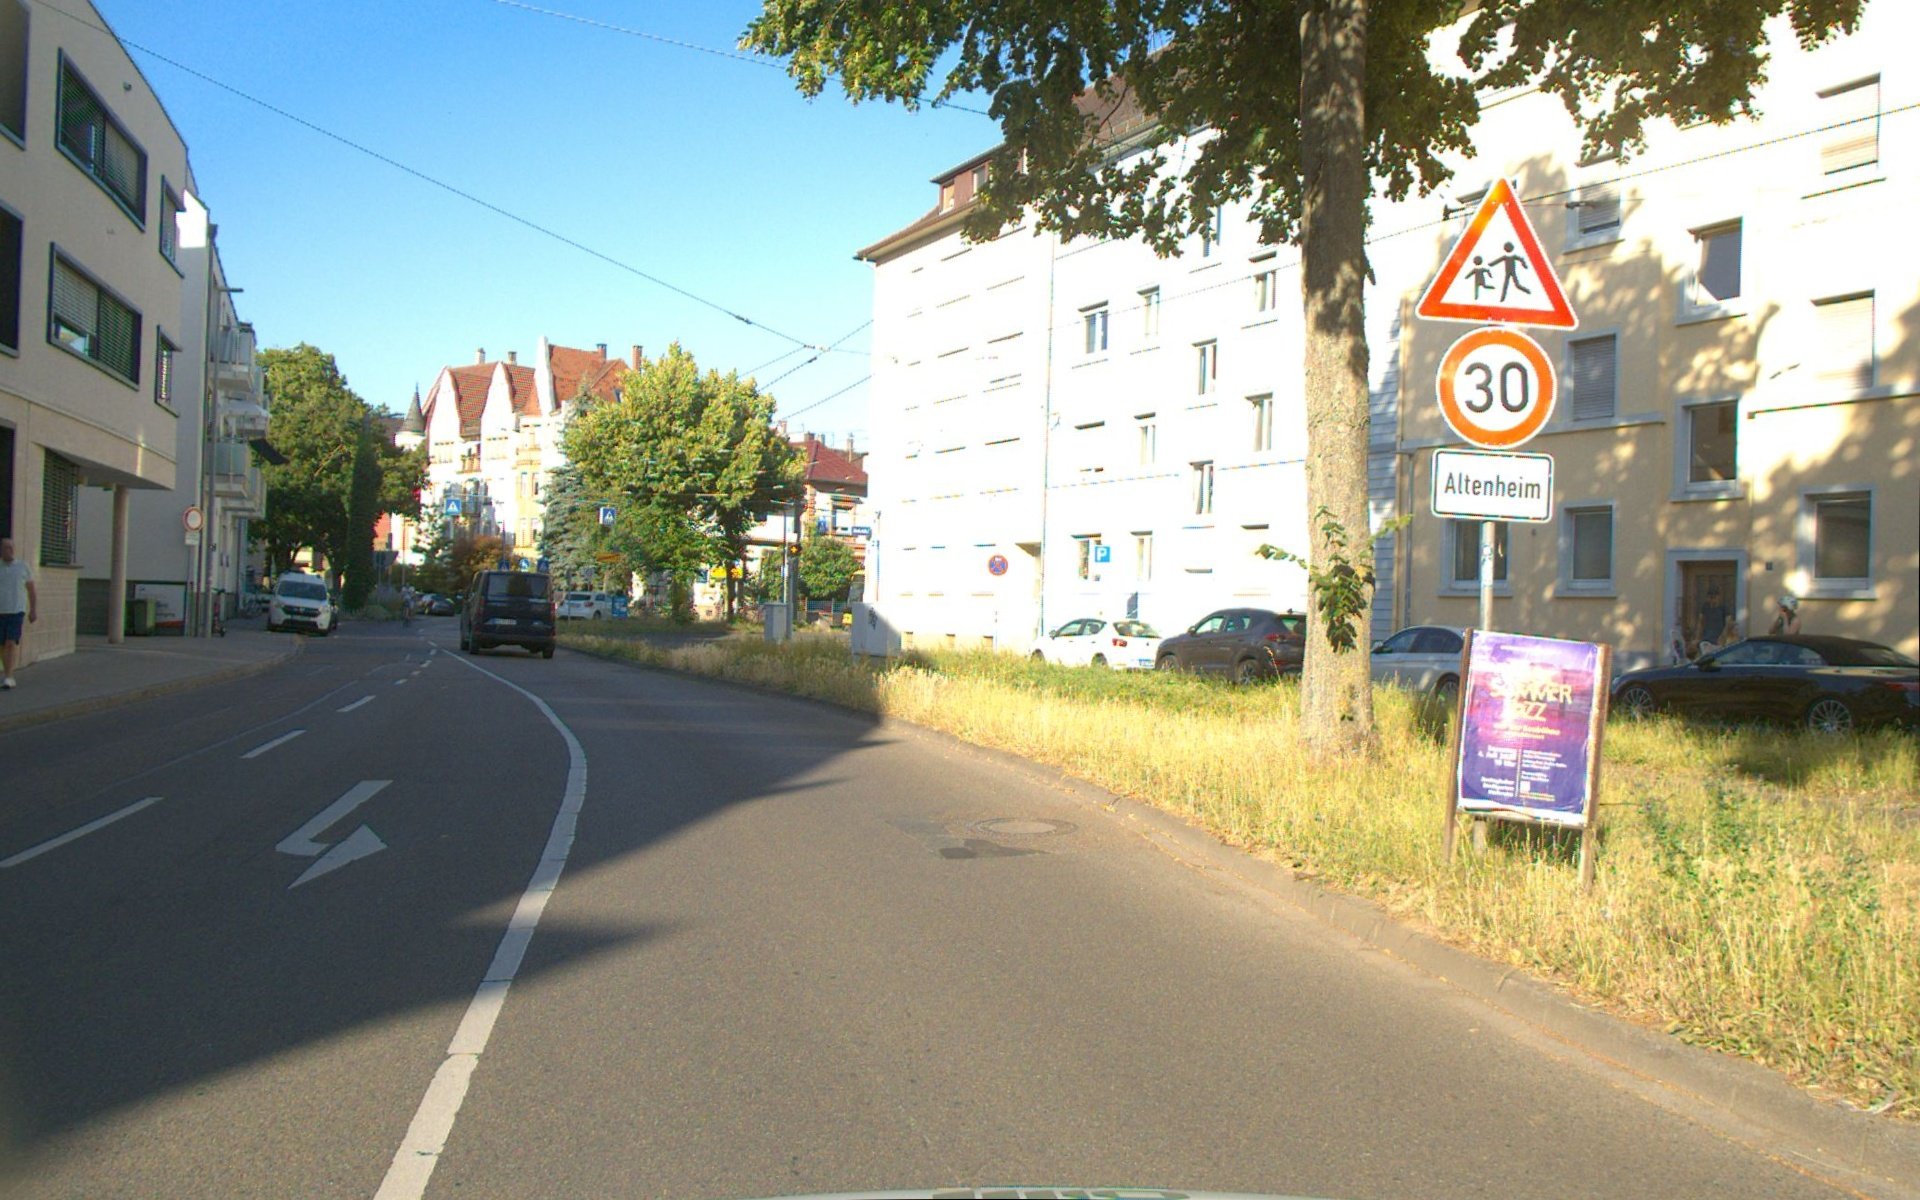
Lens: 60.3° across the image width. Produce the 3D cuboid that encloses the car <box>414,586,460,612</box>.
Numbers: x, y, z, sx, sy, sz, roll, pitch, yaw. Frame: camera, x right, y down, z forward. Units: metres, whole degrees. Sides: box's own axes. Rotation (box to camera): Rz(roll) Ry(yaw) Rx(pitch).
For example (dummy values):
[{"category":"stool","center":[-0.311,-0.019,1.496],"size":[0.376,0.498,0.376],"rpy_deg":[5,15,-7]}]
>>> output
[{"category":"car","center":[-33.894,-0.077,107.140],"size":[1.973,1.624,3.958],"rpy_deg":[3,-1,-31]}]

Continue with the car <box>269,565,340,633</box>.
[{"category":"car","center":[-20.251,-0.028,51.028],"size":[1.787,1.902,4.300],"rpy_deg":[4,-1,-24]}]

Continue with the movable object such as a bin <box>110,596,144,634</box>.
[{"category":"movable object such as a bin","center":[-20.724,0.371,41.148],"size":[0.537,0.917,0.530],"rpy_deg":[2,-1,2]}]

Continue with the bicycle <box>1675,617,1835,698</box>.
[{"category":"bicycle","center":[11.812,0.835,24.665],"size":[0.528,1.151,2.286],"rpy_deg":[1,-1,-28]}]

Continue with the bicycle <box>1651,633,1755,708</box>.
[{"category":"bicycle","center":[11.814,1.106,26.334],"size":[0.528,1.151,1.502],"rpy_deg":[1,-1,-28]}]

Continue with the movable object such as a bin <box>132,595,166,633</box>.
[{"category":"movable object such as a bin","center":[-20.166,0.354,41.130],"size":[0.537,0.917,0.530],"rpy_deg":[2,-1,2]}]

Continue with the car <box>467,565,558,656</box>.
[{"category":"car","center":[-10.878,0.225,40.202],"size":[1.961,2.049,3.983],"rpy_deg":[2,0,-16]}]

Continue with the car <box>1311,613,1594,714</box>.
[{"category":"car","center":[8.032,0.982,27.382],"size":[1.971,1.410,4.405],"rpy_deg":[1,1,-28]}]

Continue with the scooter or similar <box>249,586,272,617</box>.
[{"category":"scooter or similar","center":[-29.653,0.058,70.139],"size":[0.504,1.251,1.520],"rpy_deg":[3,-1,-37]}]

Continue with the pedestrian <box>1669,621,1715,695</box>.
[{"category":"pedestrian","center":[10.969,0.870,24.786],"size":[0.426,1.084,0.457],"rpy_deg":[2,-1,-27]}]

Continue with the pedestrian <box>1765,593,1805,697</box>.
[{"category":"pedestrian","center":[12.396,0.666,24.861],"size":[0.302,1.541,0.438],"rpy_deg":[0,0,-35]}]

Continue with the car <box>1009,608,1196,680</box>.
[{"category":"car","center":[3.116,0.936,37.074],"size":[1.974,1.410,4.399],"rpy_deg":[1,1,-31]}]

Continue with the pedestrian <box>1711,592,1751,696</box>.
[{"category":"pedestrian","center":[11.593,0.650,24.866],"size":[0.328,1.541,0.438],"rpy_deg":[0,0,-32]}]

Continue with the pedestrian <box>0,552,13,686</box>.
[{"category":"pedestrian","center":[-12.840,0.239,21.452],"size":[0.690,1.744,0.839],"rpy_deg":[2,-1,-15]}]

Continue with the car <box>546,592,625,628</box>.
[{"category":"car","center":[-16.516,0.423,73.104],"size":[1.917,1.531,3.688],"rpy_deg":[0,0,15]}]

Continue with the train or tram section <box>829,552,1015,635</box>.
[{"category":"train or tram section","center":[-1.627,-0.221,77.125],"size":[2.734,3.618,9.863],"rpy_deg":[1,0,41]}]

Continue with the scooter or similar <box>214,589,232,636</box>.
[{"category":"scooter or similar","center":[-19.274,0.330,43.256],"size":[0.399,1.196,0.940],"rpy_deg":[1,1,-24]}]

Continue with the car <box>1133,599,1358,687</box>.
[{"category":"car","center":[5.491,0.788,32.430],"size":[1.971,1.599,4.598],"rpy_deg":[1,0,-28]}]

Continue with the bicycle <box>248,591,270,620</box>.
[{"category":"bicycle","center":[-28.168,0.199,66.458],"size":[0.571,1.129,1.852],"rpy_deg":[3,-1,-30]}]

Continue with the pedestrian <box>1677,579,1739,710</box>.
[{"category":"pedestrian","center":[11.885,0.699,26.272],"size":[0.605,2.049,0.643],"rpy_deg":[2,-1,-28]}]

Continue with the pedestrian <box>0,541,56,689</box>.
[{"category":"pedestrian","center":[-12.318,0.189,21.588],"size":[0.595,1.881,0.989],"rpy_deg":[2,-1,-14]}]

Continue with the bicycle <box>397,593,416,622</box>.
[{"category":"bicycle","center":[-21.228,0.272,63.439],"size":[0.613,1.100,1.772],"rpy_deg":[1,0,-20]}]

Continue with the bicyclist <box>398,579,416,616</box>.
[{"category":"bicyclist","center":[-21.242,-0.084,63.492],"size":[0.613,1.404,0.796],"rpy_deg":[1,-1,-21]}]

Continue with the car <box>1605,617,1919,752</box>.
[{"category":"car","center":[10.796,0.999,21.353],"size":[1.971,1.410,4.405],"rpy_deg":[1,1,-28]}]
